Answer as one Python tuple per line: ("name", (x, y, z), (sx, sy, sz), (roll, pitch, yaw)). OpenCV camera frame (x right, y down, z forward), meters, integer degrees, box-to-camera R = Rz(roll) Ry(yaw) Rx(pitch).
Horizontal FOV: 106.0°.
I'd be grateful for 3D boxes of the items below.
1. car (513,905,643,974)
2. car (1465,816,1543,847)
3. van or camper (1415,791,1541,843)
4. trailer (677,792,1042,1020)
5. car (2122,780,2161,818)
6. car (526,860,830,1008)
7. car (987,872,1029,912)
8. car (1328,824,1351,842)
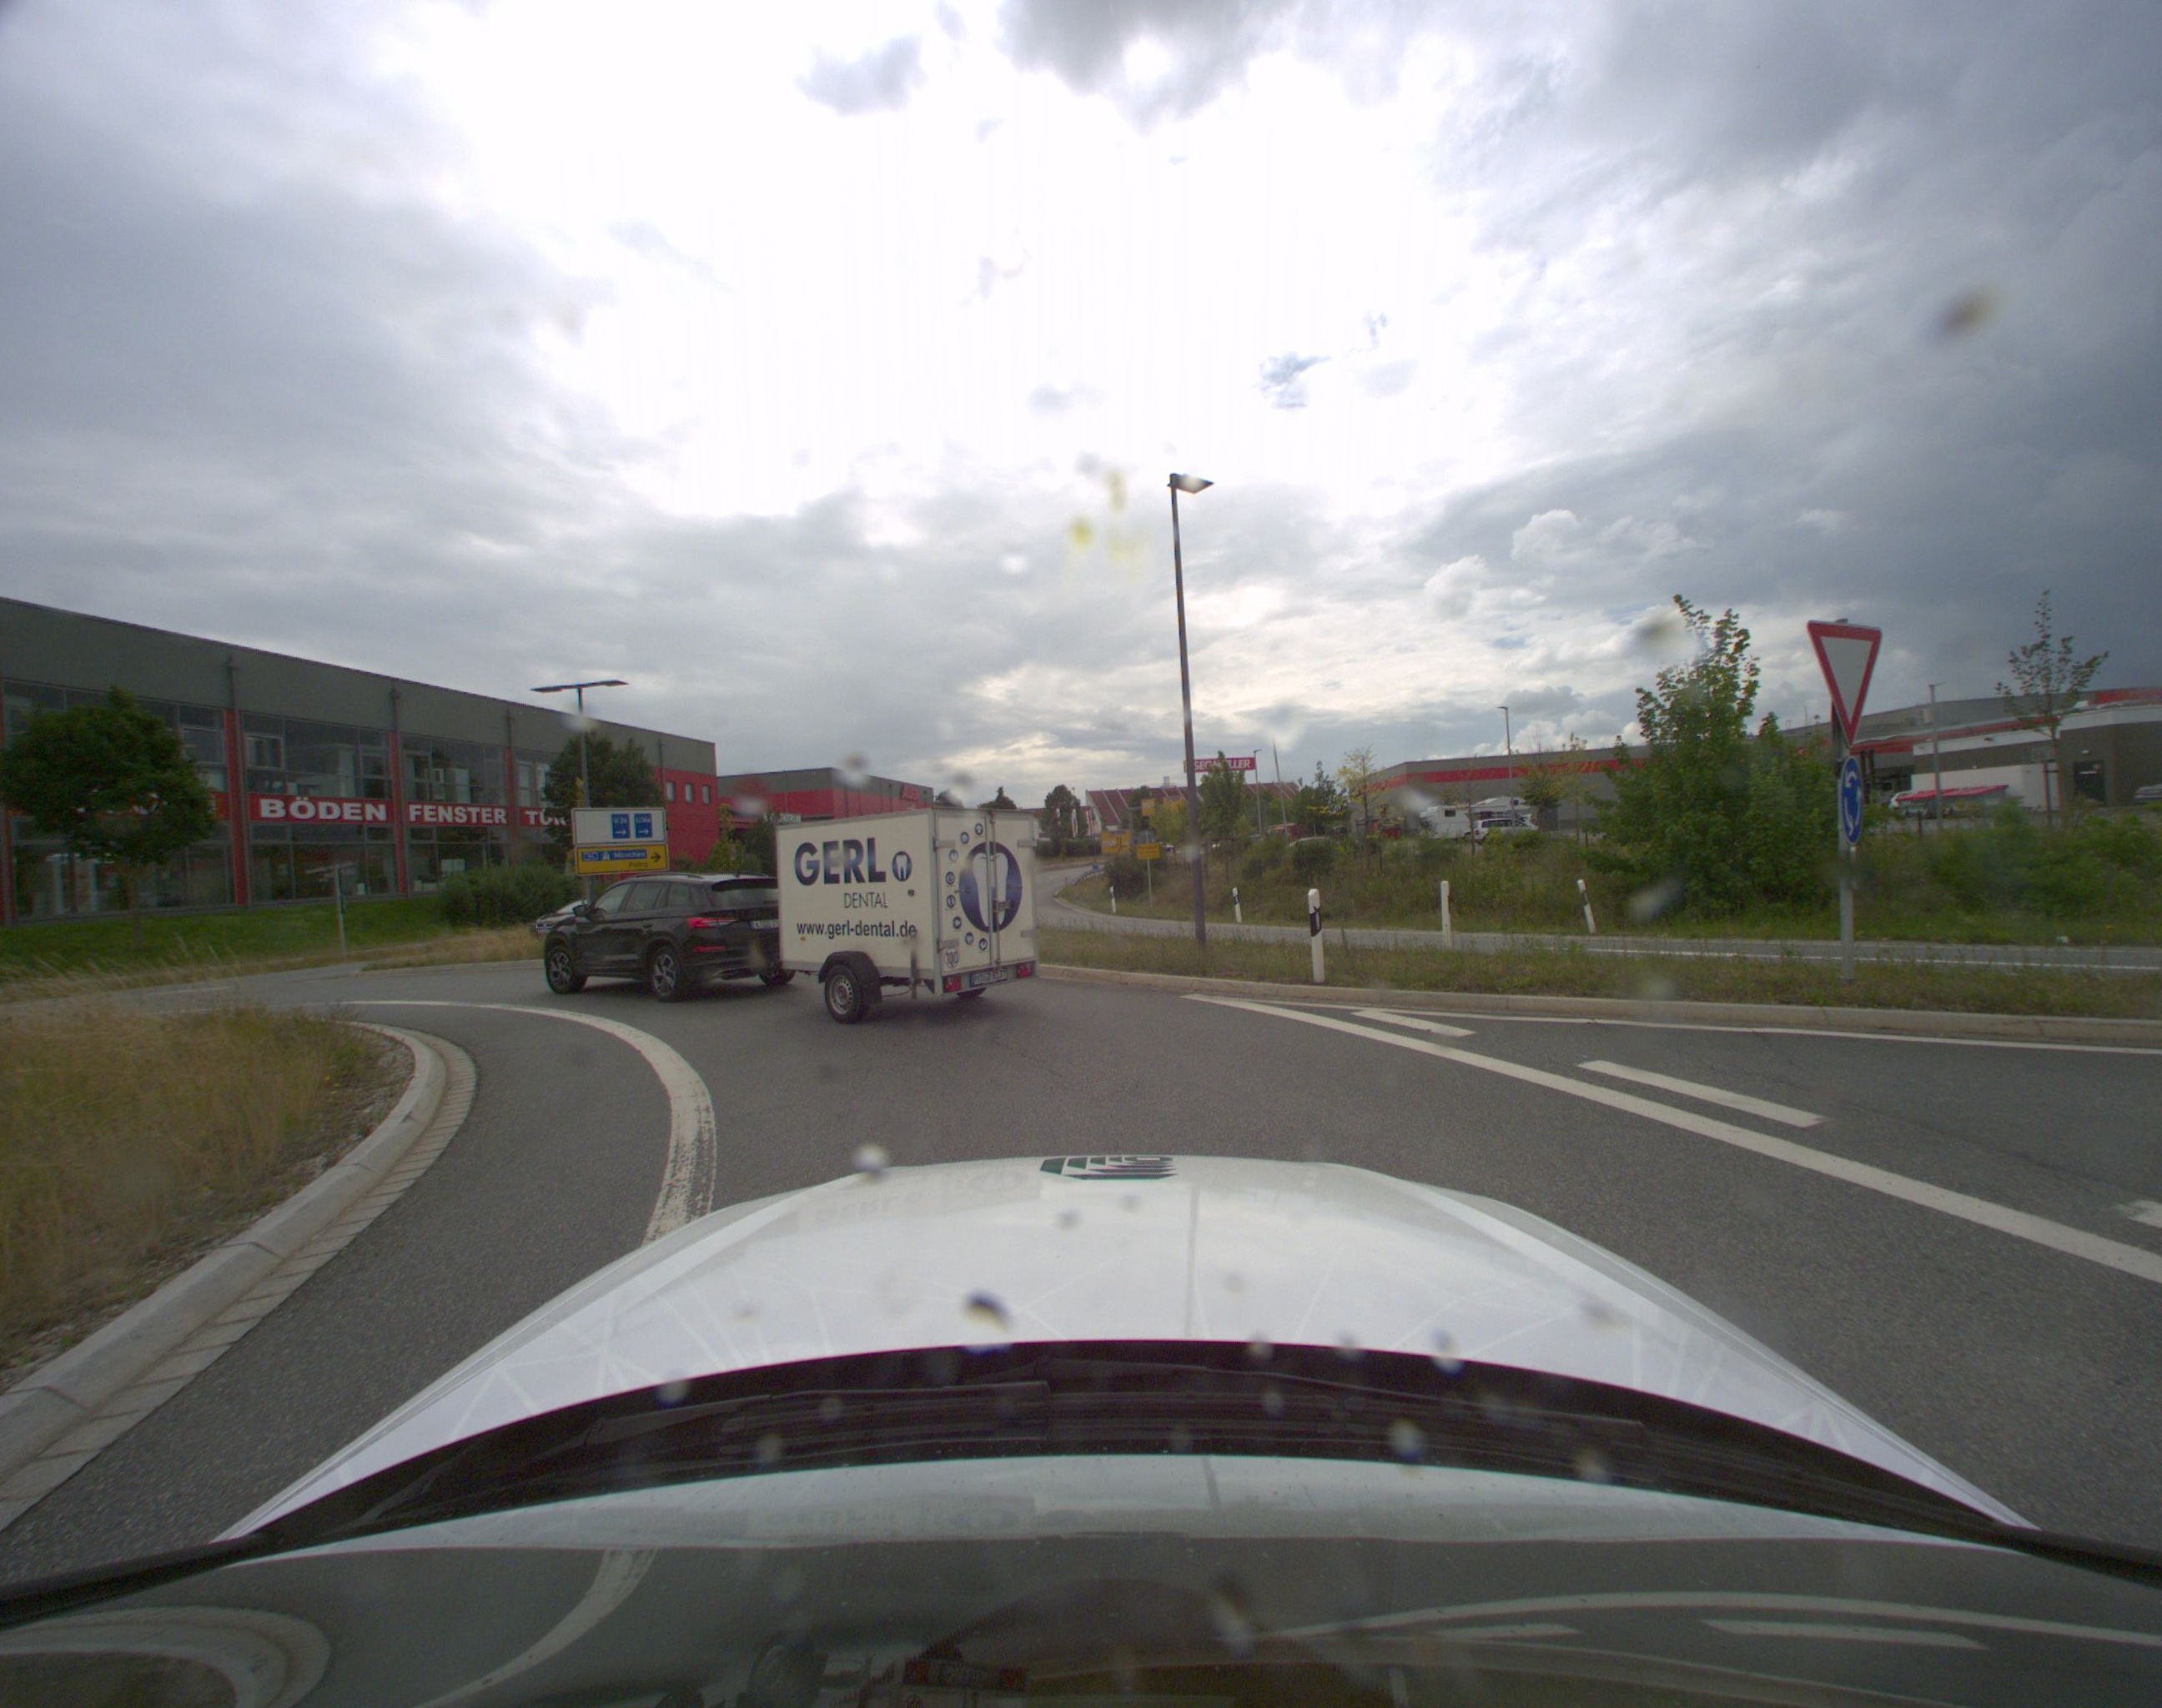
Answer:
("car", (-17.047, 2.843, 27.850), (1.668, 1.771, 3.960), (-3, 1, 4))
("car", (27.098, -1.430, 52.288), (4.024, 1.720, 1.785), (-4, 0, 10))
("van or camper", (28.544, -2.646, 58.863), (7.671, 3.178, 2.498), (-4, 1, 7))
("trailer", (-2.659, 0.557, 9.390), (4.092, 2.091, 1.824), (-3, -1, 36))
("car", (45.413, -2.327, 33.036), (3.969, 1.431, 1.672), (-3, 0, 4))
("car", (-5.847, 1.053, 11.612), (4.555, 1.670, 1.829), (-3, 0, 35))
("car", (-3.760, 1.928, 42.538), (1.865, 1.604, 3.731), (-5, 2, -3))
("car", (29.949, -2.414, 94.404), (1.691, 1.811, 3.977), (-6, 0, 6))
